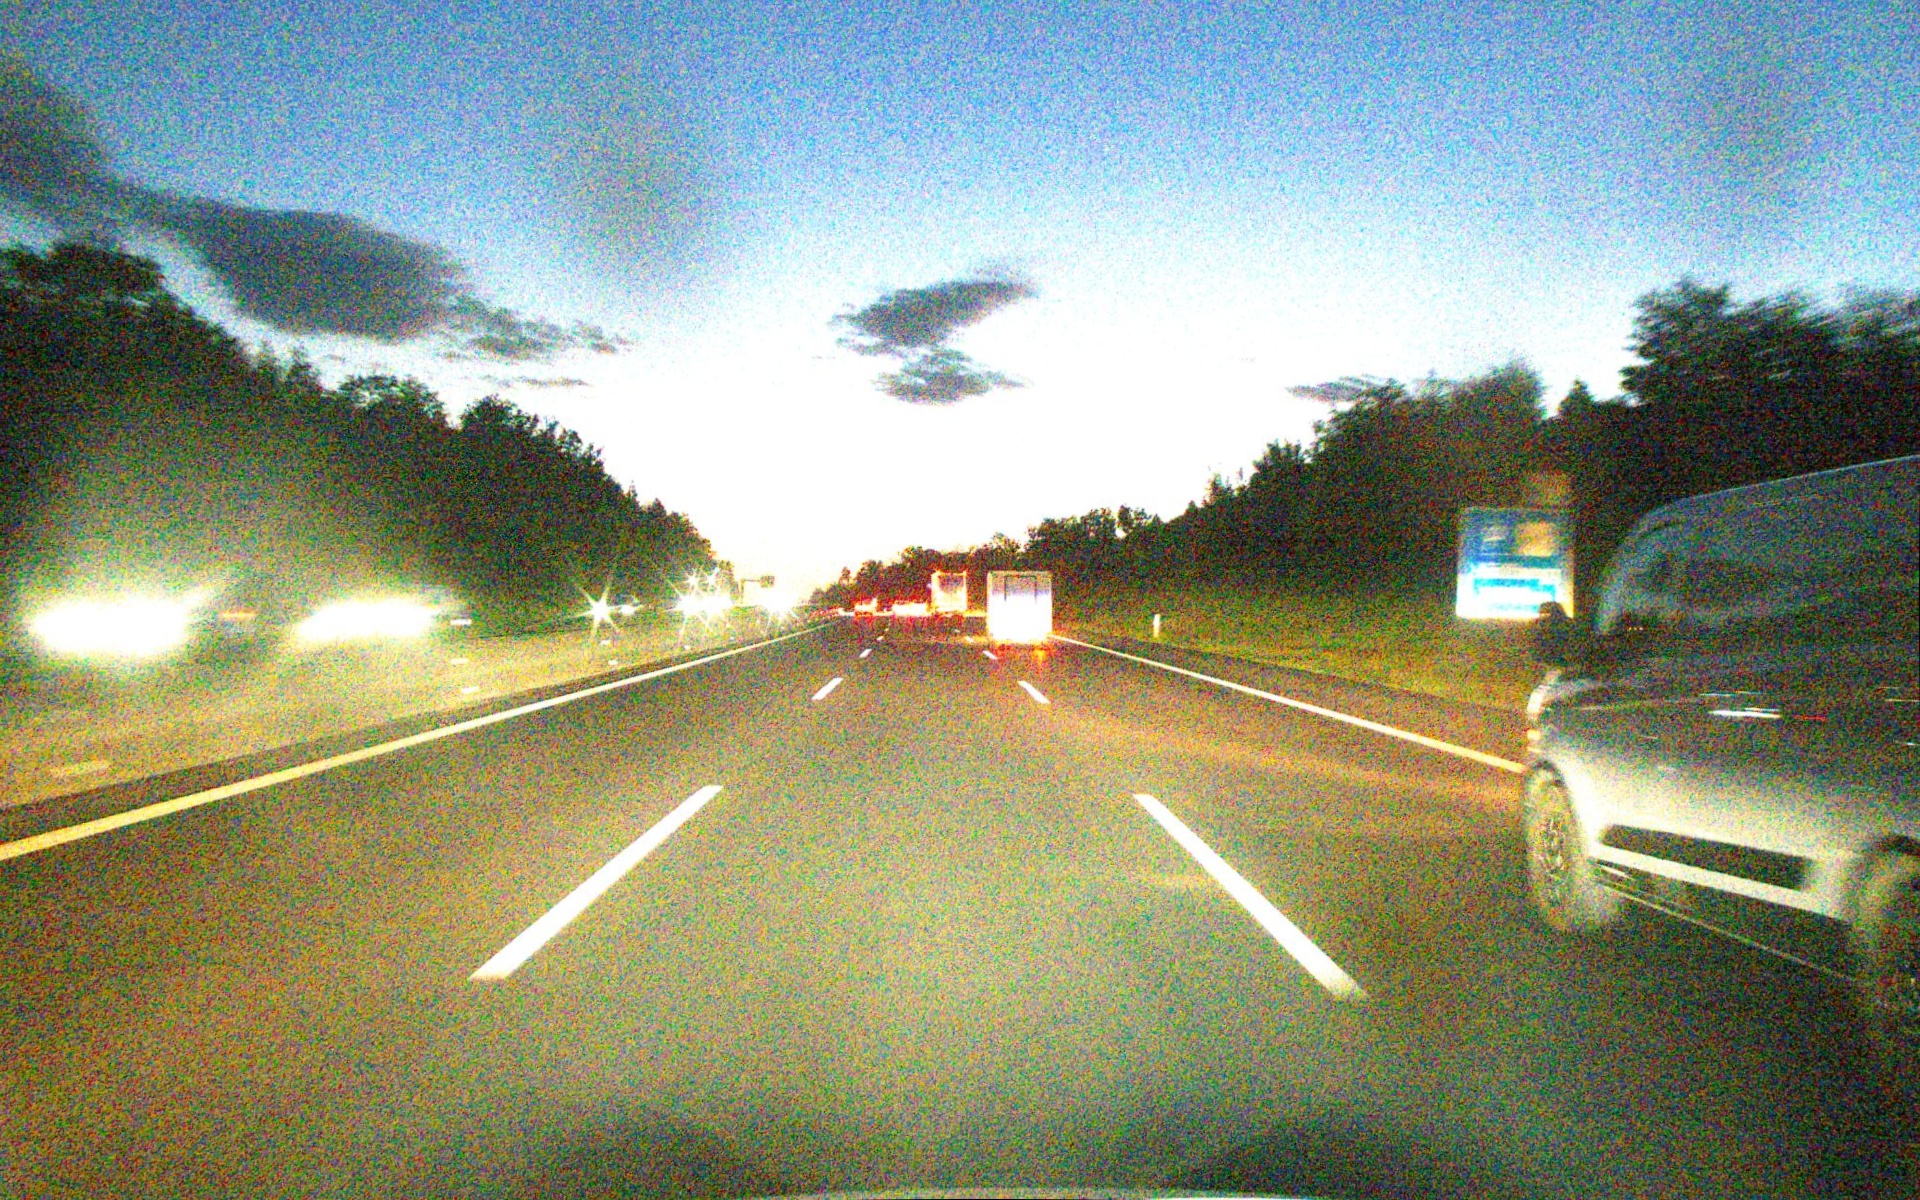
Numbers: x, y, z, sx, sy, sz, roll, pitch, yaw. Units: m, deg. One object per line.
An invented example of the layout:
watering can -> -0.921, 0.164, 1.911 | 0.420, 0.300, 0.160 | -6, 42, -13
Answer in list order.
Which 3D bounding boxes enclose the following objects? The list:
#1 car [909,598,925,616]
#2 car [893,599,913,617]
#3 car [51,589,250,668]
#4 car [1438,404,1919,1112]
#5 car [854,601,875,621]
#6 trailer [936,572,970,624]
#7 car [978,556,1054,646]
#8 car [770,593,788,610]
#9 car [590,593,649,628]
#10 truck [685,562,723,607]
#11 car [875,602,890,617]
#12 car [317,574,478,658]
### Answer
car -> -5.310, 0.891, 204.330 | 1.954, 2.154, 3.997 | 1, -2, -3
car -> -5.923, 0.855, 172.763 | 1.953, 1.825, 3.999 | 0, -2, 0
car -> -16.279, 0.543, 33.534 | 1.969, 1.493, 4.208 | 1, 0, -1
car -> 3.776, 0.473, 6.526 | 2.072, 2.036, 5.662 | 0, 0, -1
car -> -9.399, 1.096, 162.657 | 1.953, 1.825, 3.997 | 1, -2, -2
trailer -> -0.739, -0.043, 155.126 | 2.772, 4.332, 17.041 | 1, -2, -1
car -> 1.725, 0.061, 52.655 | 1.991, 2.693, 5.722 | 1, 0, -2
car -> -24.497, 0.196, 224.282 | 2.200, 2.138, 5.710 | 1, 1, -5
car -> -17.247, 0.518, 84.062 | 1.969, 1.699, 4.948 | 1, 0, 0
truck -> -23.660, -1.427, 153.269 | 2.797, 4.050, 5.857 | 1, 0, -2
car -> -10.156, 1.223, 216.824 | 1.953, 1.848, 3.998 | 1, -2, -1
car -> -12.138, 0.332, 36.005 | 1.969, 1.699, 4.482 | 0, 0, 0
